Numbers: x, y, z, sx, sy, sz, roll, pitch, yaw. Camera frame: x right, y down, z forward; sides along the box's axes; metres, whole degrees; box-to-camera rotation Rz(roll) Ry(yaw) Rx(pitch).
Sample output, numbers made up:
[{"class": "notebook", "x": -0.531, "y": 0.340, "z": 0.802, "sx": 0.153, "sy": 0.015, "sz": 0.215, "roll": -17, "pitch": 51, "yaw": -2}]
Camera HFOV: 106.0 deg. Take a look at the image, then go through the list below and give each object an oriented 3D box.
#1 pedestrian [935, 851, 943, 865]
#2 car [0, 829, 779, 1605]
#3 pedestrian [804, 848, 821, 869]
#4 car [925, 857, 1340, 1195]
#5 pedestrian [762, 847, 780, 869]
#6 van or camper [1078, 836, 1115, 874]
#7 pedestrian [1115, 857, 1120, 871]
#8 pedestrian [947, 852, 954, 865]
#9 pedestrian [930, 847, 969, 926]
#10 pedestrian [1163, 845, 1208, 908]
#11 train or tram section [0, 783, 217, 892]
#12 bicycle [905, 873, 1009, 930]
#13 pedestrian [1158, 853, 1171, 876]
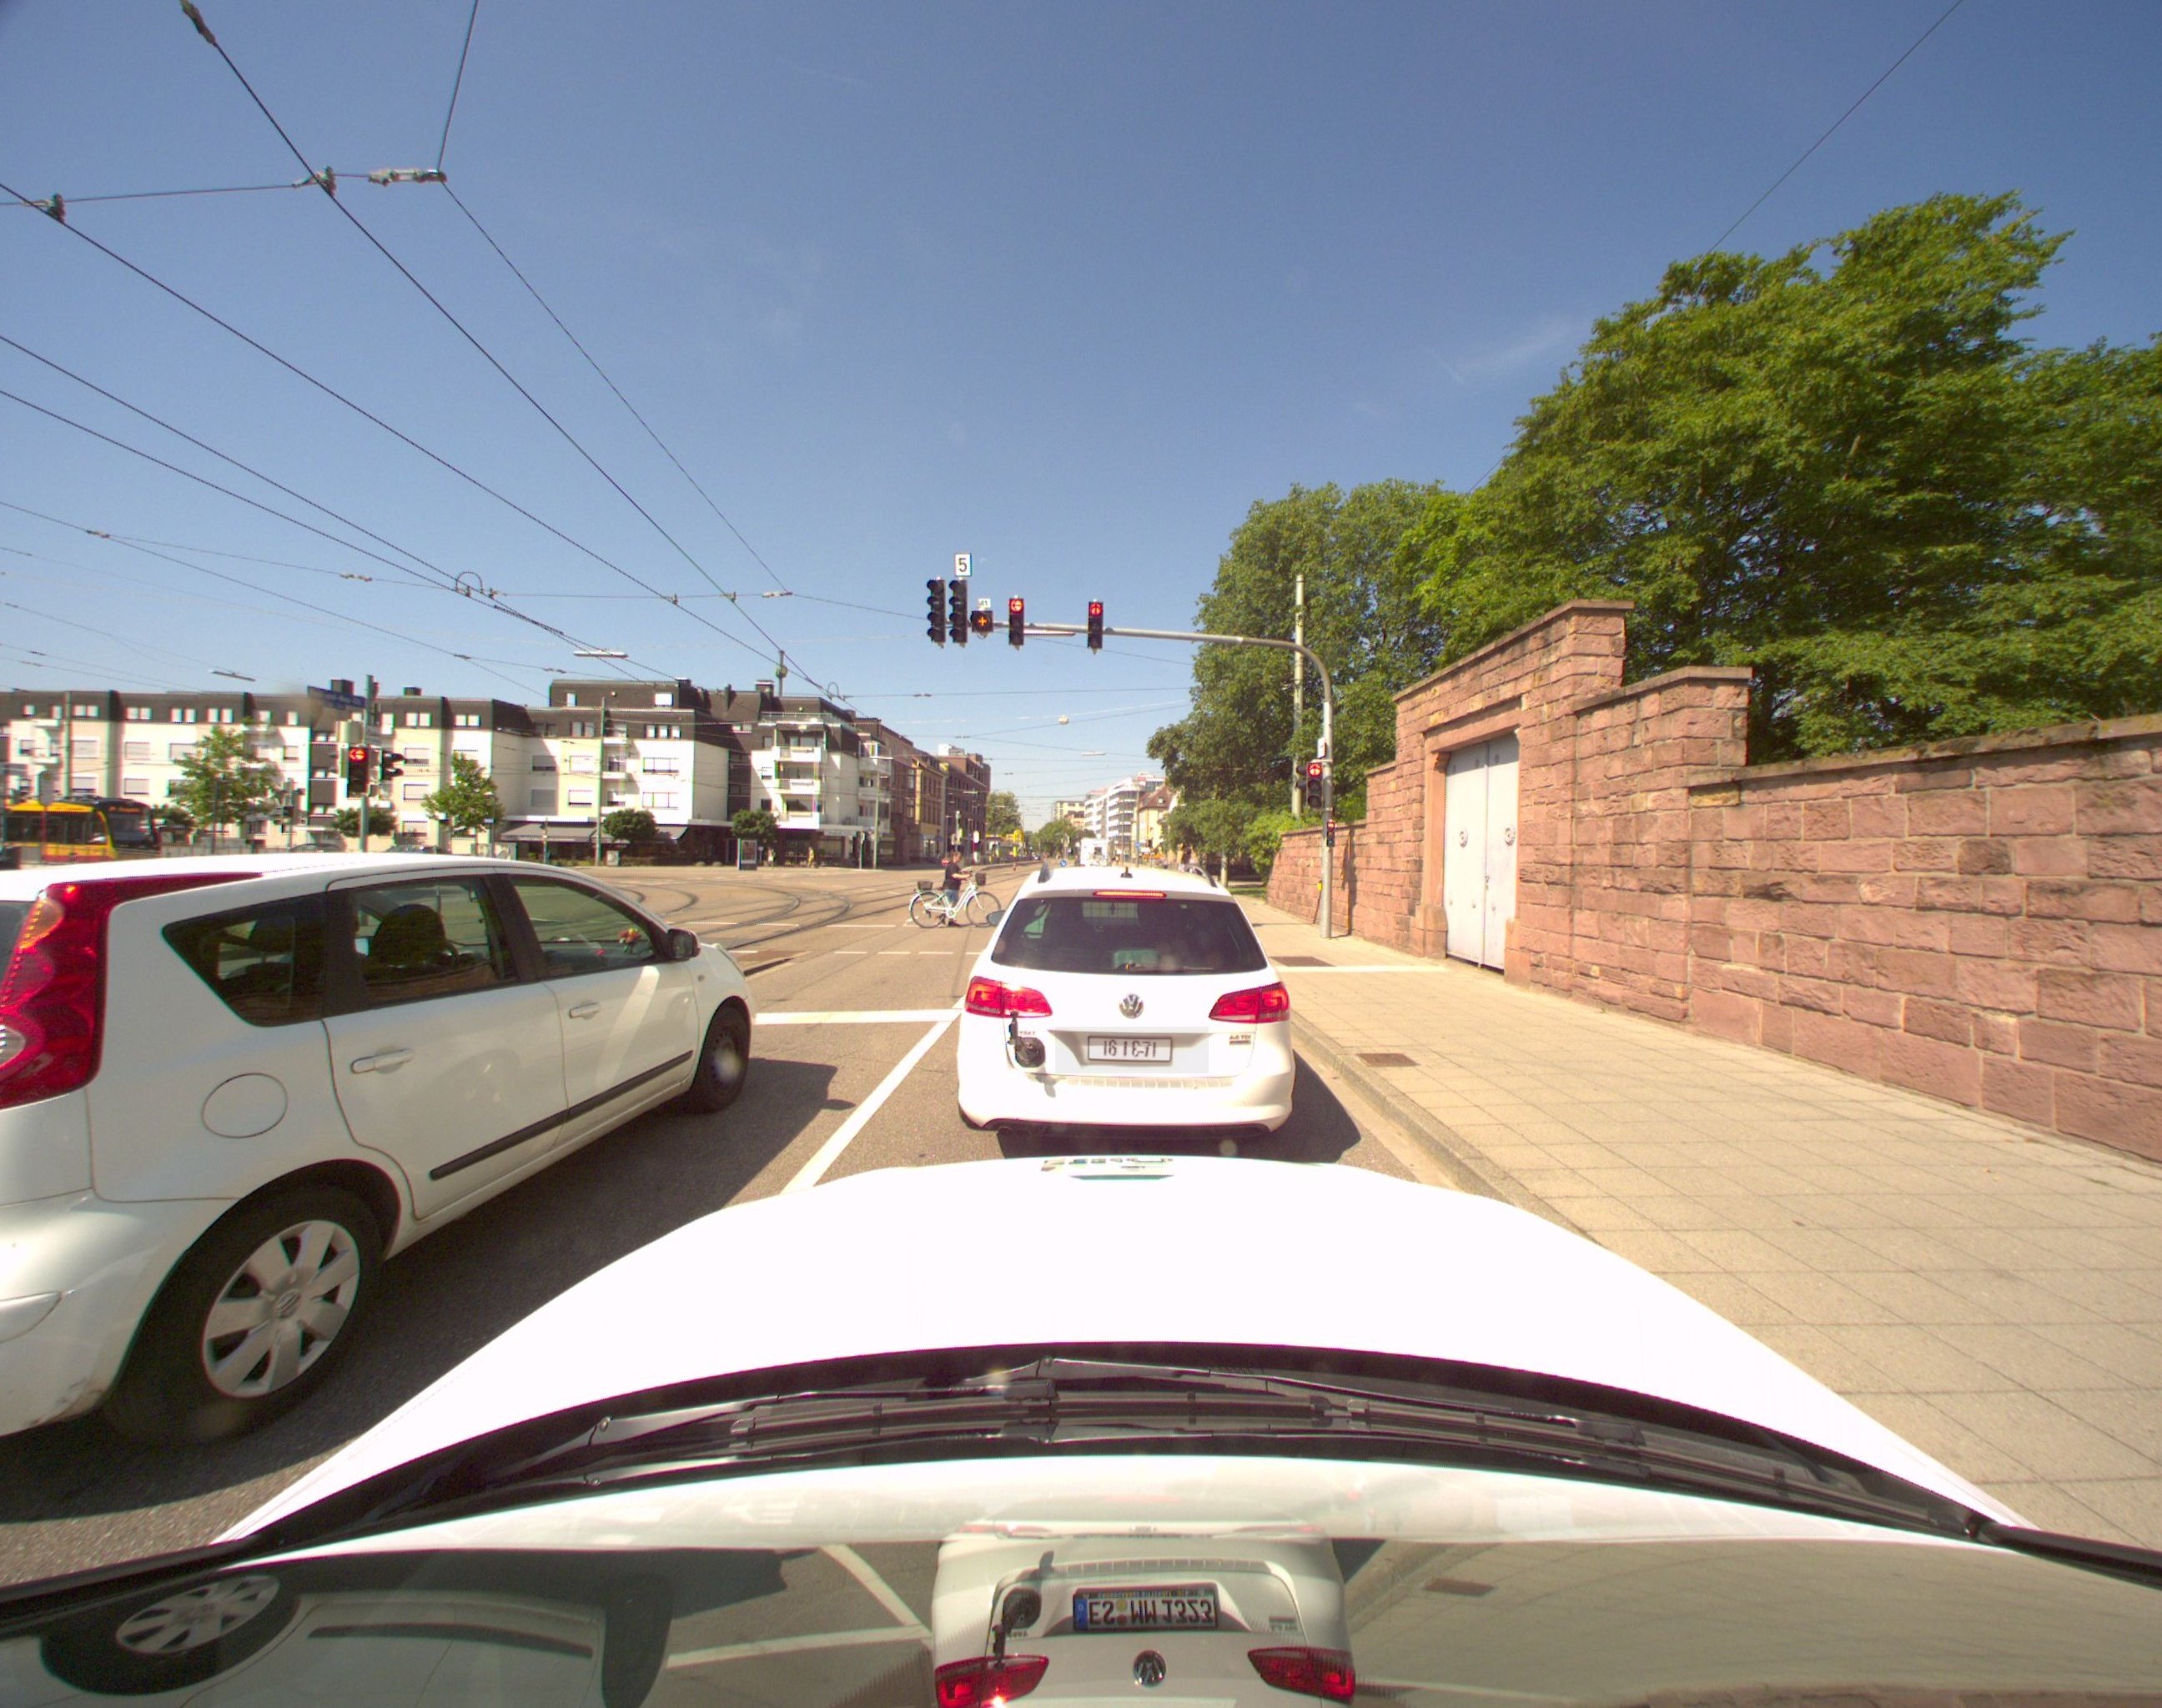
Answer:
[{"class": "pedestrian", "x": -17.858, "y": 0.489, "z": 102.105, "sx": 0.860, "sy": 1.743, "sz": 0.973, "roll": -1, "pitch": -1, "yaw": -4}, {"class": "car", "x": -2.901, "y": 0.718, "z": 3.547, "sx": 1.636, "sy": 1.566, "sz": 3.805, "roll": -1, "pitch": 1, "yaw": 1}, {"class": "pedestrian", "x": -22.359, "y": 0.358, "z": 67.865, "sx": 0.853, "sy": 1.743, "sz": 0.981, "roll": -2, "pitch": -2, "yaw": 38}, {"class": "car", "x": 0.280, "y": 0.753, "z": 5.557, "sx": 1.801, "sy": 1.448, "sz": 4.001, "roll": 0, "pitch": 0, "yaw": 1}, {"class": "pedestrian", "x": -24.264, "y": 0.313, "z": 63.763, "sx": 0.853, "sy": 1.743, "sz": 0.981, "roll": -2, "pitch": -2, "yaw": 33}, {"class": "van or camper", "x": 1.383, "y": 0.111, "z": 69.594, "sx": 2.553, "sy": 3.093, "sz": 5.713, "roll": -1, "pitch": -1, "yaw": 6}, {"class": "pedestrian", "x": 5.940, "y": 1.606, "z": 132.576, "sx": 0.687, "sy": 2.325, "sz": 1.233, "roll": -1, "pitch": -1, "yaw": 3}, {"class": "pedestrian", "x": -17.325, "y": 0.590, "z": 108.018, "sx": 0.860, "sy": 1.743, "sz": 0.973, "roll": -1, "pitch": -1, "yaw": -4}, {"class": "pedestrian", "x": -2.713, "y": 0.651, "z": 16.792, "sx": 0.746, "sy": 1.571, "sz": 0.672, "roll": -1, "pitch": 0, "yaw": -12}, {"class": "pedestrian", "x": 2.851, "y": 0.610, "z": 22.113, "sx": 0.944, "sy": 1.651, "sz": 0.980, "roll": -1, "pitch": -1, "yaw": 23}, {"class": "train or tram section", "x": -54.707, "y": -0.681, "z": 41.528, "sx": 16.149, "sy": 5.150, "sz": 4.735, "roll": -1, "pitch": -1, "yaw": 0}, {"class": "bicycle", "x": -2.493, "y": 0.935, "z": 16.329, "sx": 2.021, "sy": 1.090, "sz": 0.707, "roll": 1, "pitch": 0, "yaw": -13}, {"class": "pedestrian", "x": 6.449, "y": 0.821, "z": 63.172, "sx": 0.855, "sy": 1.743, "sz": 0.978, "roll": -1, "pitch": -1, "yaw": 13}]
